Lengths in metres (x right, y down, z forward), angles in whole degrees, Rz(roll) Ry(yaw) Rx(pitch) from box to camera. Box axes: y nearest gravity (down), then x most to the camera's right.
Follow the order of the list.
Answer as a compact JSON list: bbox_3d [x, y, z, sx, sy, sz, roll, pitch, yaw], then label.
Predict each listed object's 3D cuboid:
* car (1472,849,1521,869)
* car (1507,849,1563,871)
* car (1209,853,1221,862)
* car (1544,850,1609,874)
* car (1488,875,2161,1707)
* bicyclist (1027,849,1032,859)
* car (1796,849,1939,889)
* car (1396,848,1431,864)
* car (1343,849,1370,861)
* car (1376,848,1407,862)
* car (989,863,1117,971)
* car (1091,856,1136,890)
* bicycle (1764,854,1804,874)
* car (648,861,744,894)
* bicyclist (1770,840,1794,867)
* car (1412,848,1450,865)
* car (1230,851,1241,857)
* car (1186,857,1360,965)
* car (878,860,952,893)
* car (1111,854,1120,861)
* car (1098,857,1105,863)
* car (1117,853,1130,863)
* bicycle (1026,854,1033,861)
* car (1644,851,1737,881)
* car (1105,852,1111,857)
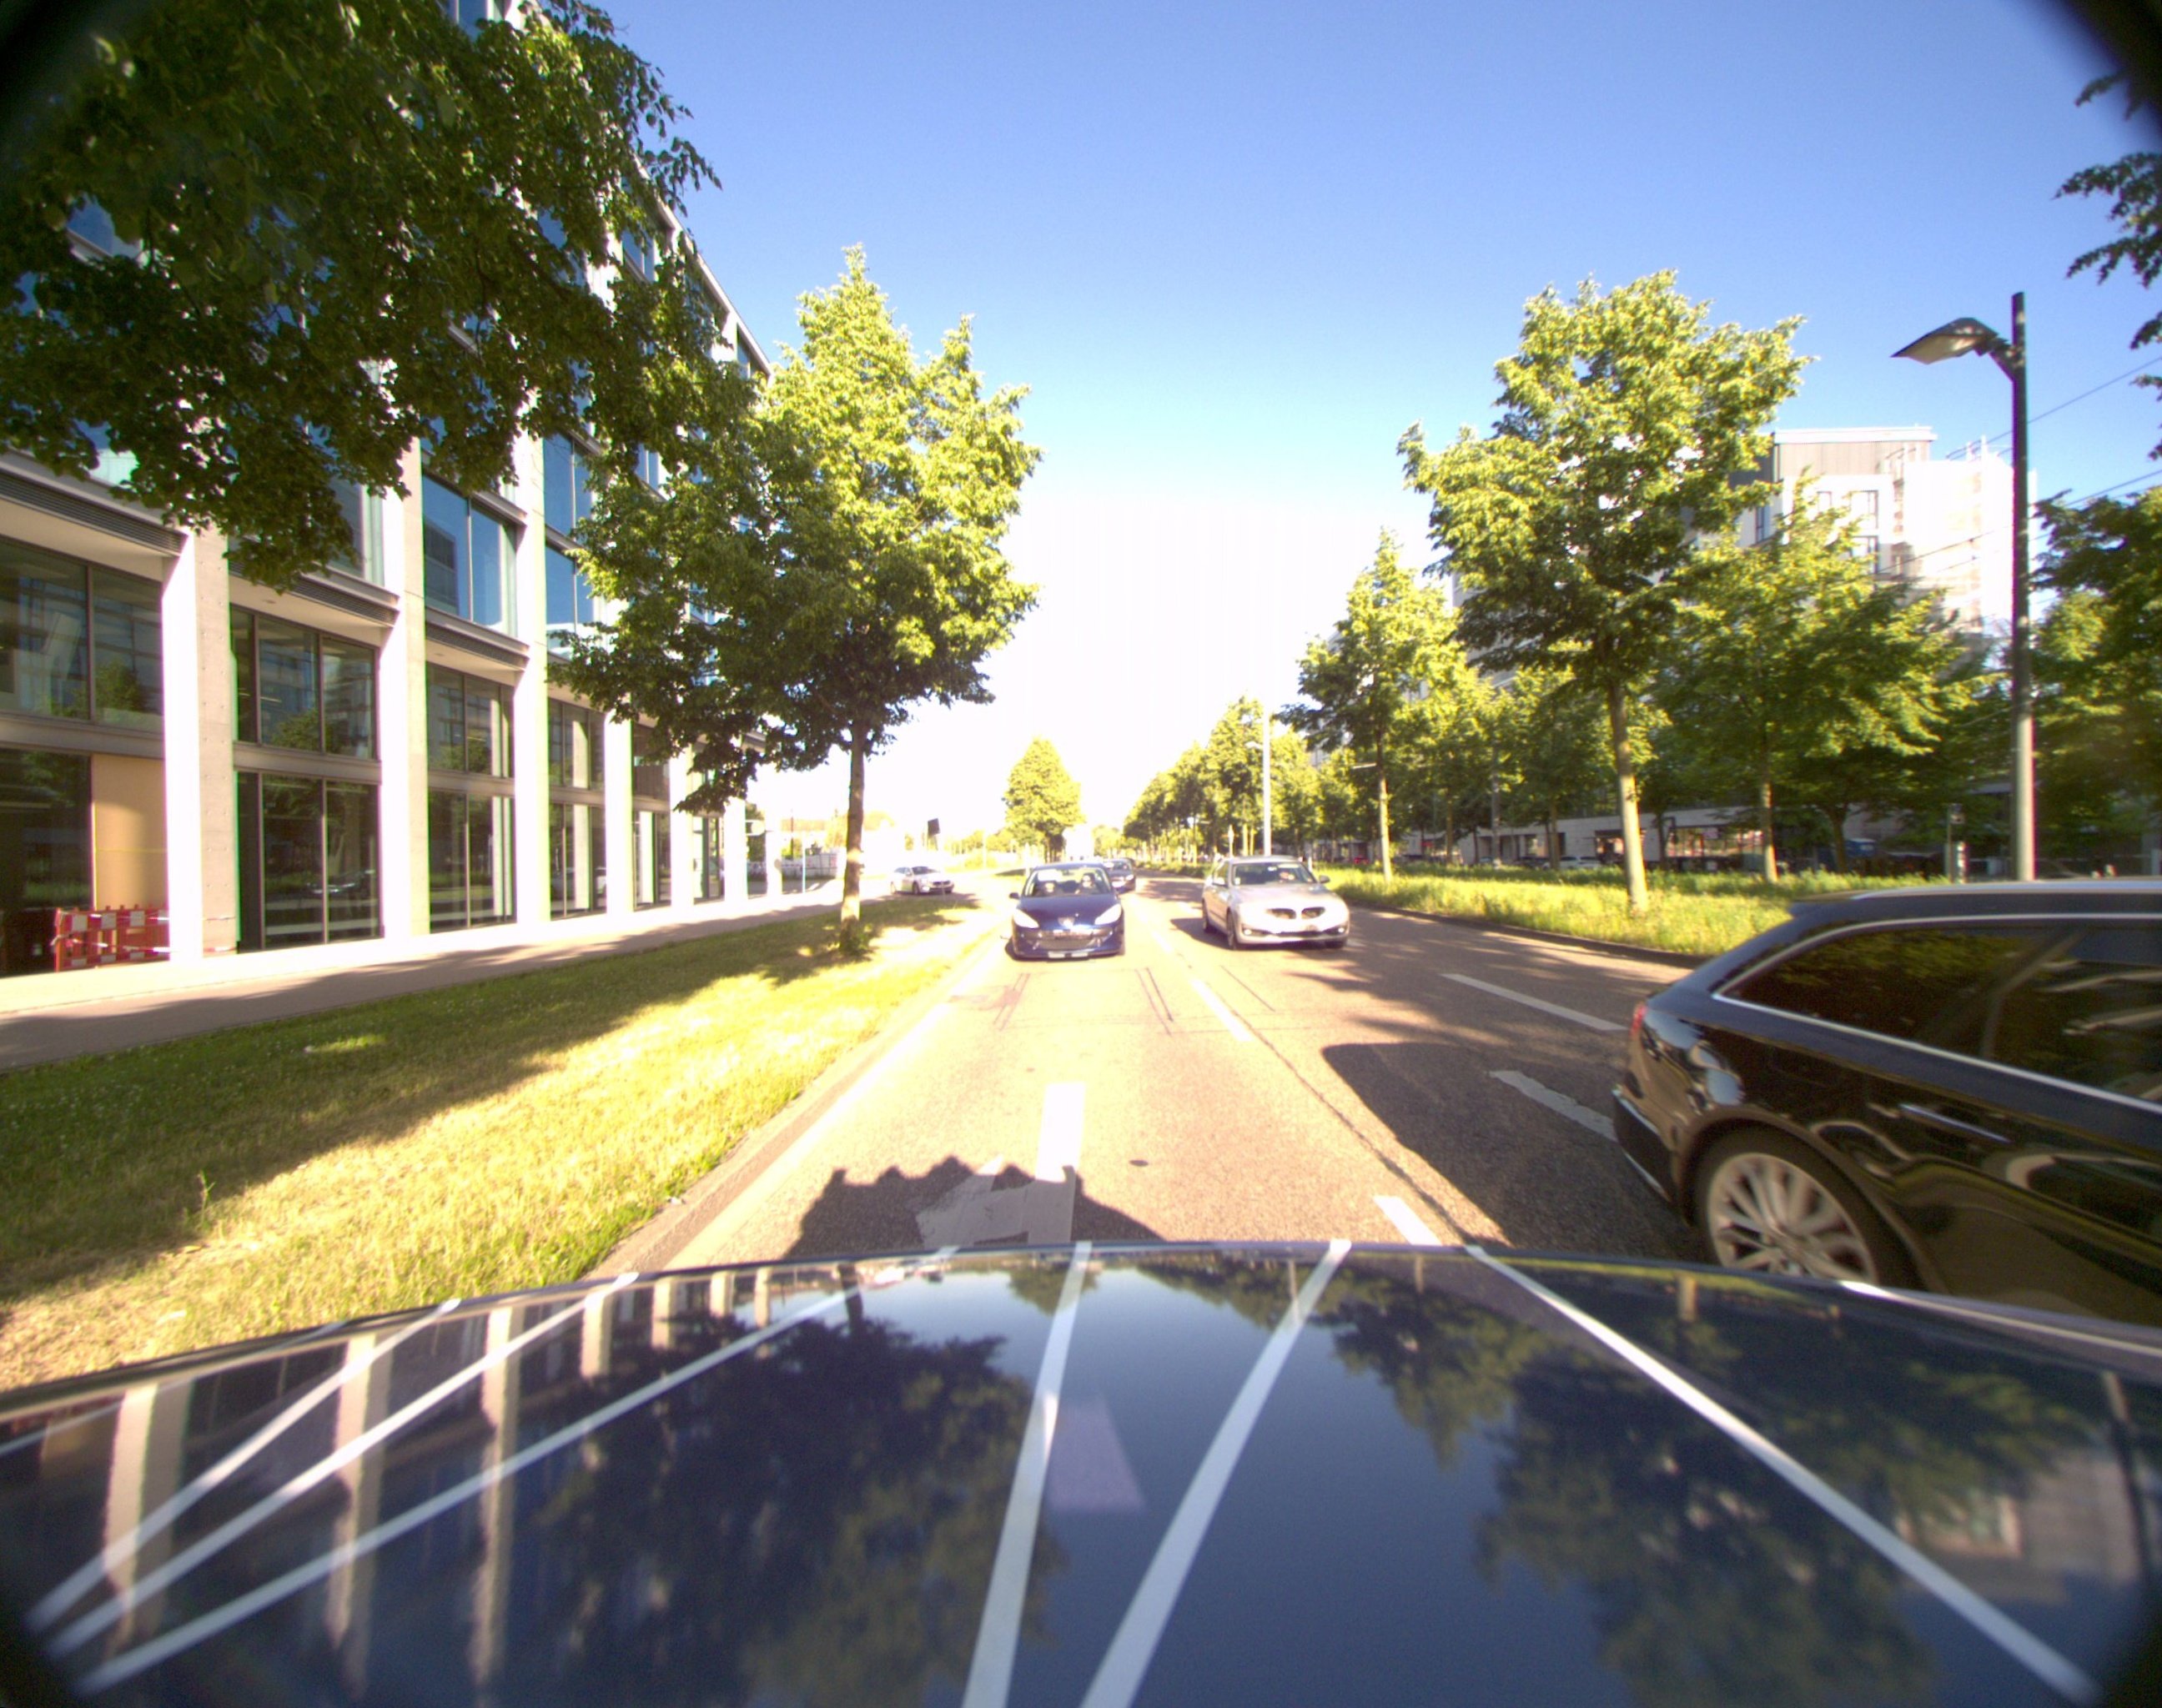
[{"bbox_3d":[35.072,0.376,64.220,1.884,1.588,4.183,-1,0,1],"label":"car"},{"bbox_3d":[35.110,0.434,58.938,1.884,1.588,4.183,-1,0,1],"label":"car"},{"bbox_3d":[27.546,0.745,156.180,1.895,1.671,4.000,-1,0,1],"label":"car"},{"bbox_3d":[34.832,0.513,53.579,1.884,1.588,4.183,-1,0,1],"label":"car"},{"bbox_3d":[2.613,0.852,0.605,1.879,1.476,4.966,-1,0,0],"label":"car"},{"bbox_3d":[-10.544,-0.061,155.565,0.931,2.045,1.121,-1,1,1],"label":"bicyclist"},{"bbox_3d":[34.030,0.622,33.059,1.951,1.588,4.183,-1,0,1],"label":"car"},{"bbox_3d":[35.347,0.171,80.810,1.884,1.588,4.183,-1,0,1],"label":"car"},{"bbox_3d":[35.597,0.117,98.216,1.999,1.387,3.999,-1,0,-2],"label":"car"},{"bbox_3d":[35.400,0.100,86.730,1.884,1.588,4.183,-1,0,1],"label":"car"},{"bbox_3d":[-0.390,0.963,13.446,1.846,1.473,4.481,-1,0,1],"label":"car"},{"bbox_3d":[1.473,0.858,36.101,1.998,1.437,4.622,-1,0,1],"label":"car"},{"bbox_3d":[37.287,0.528,40.329,0.478,1.029,1.756,-1,0,1],"label":"bicycle"},{"bbox_3d":[-20.108,1.214,39.808,3.996,1.569,2.000,-1,1,3],"label":"car"},{"bbox_3d":[37.279,-0.022,40.412,0.478,1.416,0.820,-1,1,1],"label":"bicyclist"},{"bbox_3d":[34.939,0.250,75.902,1.884,1.588,4.183,-1,0,1],"label":"car"},{"bbox_3d":[35.935,-0.084,176.935,1.998,1.387,4.001,-1,0,4],"label":"car"},{"bbox_3d":[3.059,0.823,13.137,1.824,1.476,4.560,-1,0,0],"label":"car"},{"bbox_3d":[-8.132,1.033,36.857,1.808,1.439,4.556,-1,1,-36],"label":"car"},{"bbox_3d":[7.238,0.714,161.752,1.878,1.415,4.344,-1,0,2],"label":"car"},{"bbox_3d":[4.981,1.513,186.891,1.724,1.516,4.000,-1,0,1],"label":"car"},{"bbox_3d":[6.506,0.644,116.010,1.861,1.482,4.000,-1,0,1],"label":"car"},{"bbox_3d":[-10.538,0.715,155.556,0.931,1.355,4.000,-1,0,1],"label":"bicycle"},{"bbox_3d":[34.285,0.650,42.912,1.951,1.588,4.183,-1,0,1],"label":"car"},{"bbox_3d":[7.820,0.169,220.781,1.878,1.577,4.344,-1,0,2],"label":"car"}]
